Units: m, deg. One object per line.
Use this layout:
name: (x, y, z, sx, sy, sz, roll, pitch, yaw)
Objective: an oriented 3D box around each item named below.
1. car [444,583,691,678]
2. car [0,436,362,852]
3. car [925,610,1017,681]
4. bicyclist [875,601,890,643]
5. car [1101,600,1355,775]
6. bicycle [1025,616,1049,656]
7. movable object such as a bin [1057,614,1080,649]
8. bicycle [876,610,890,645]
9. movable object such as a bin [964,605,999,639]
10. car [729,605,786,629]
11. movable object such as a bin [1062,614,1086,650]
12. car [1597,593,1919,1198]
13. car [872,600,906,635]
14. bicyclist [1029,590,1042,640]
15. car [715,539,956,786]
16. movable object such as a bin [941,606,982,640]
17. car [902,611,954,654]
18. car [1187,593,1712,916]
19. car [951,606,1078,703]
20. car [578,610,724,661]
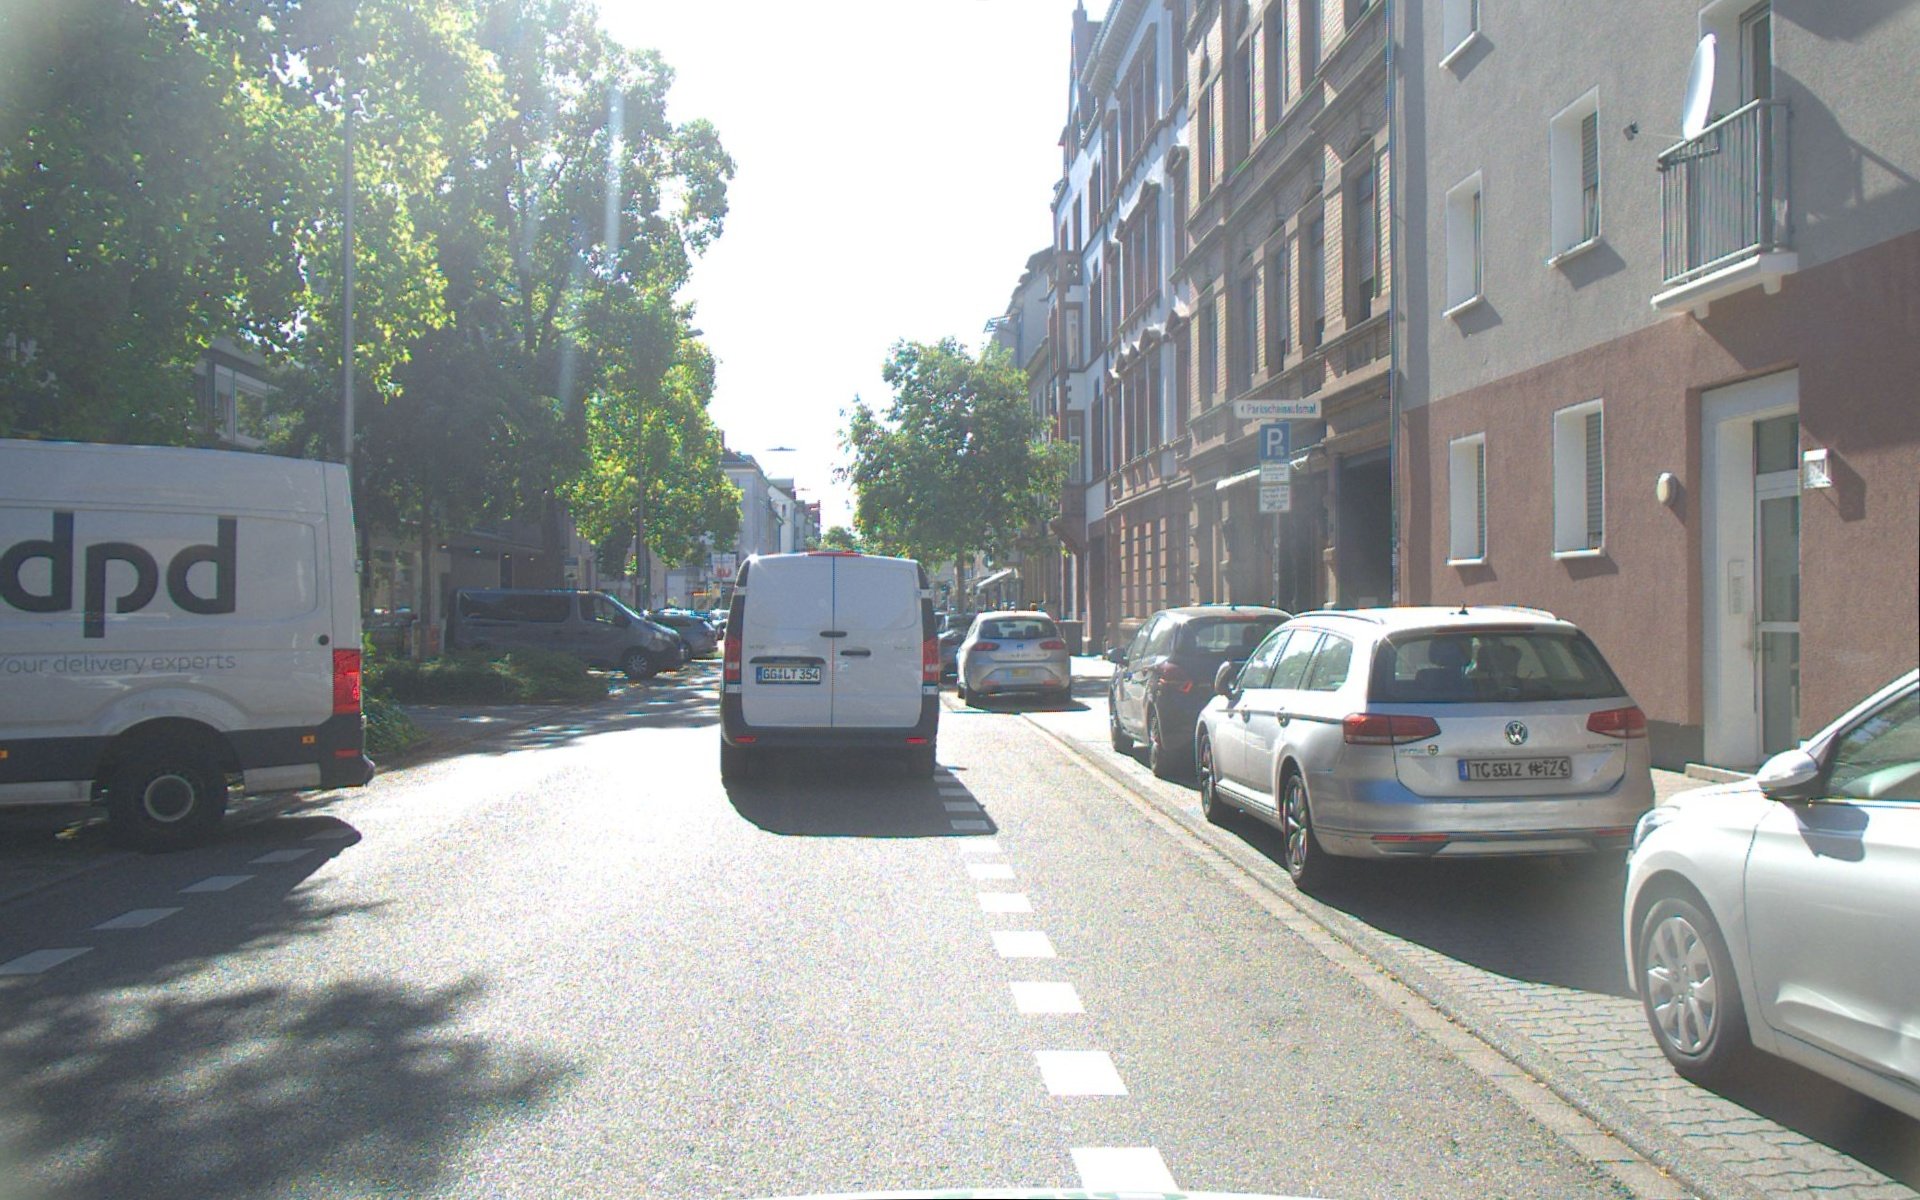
car: (-8.903, 0.697, 37.881, 5.188, 2.009, 2.014, 1, -1, -4)
car: (-7.283, 0.273, 10.309, 6.508, 2.517, 1.981, 0, 0, -29)
car: (0.182, 0.960, 36.749, 1.704, 1.477, 4.303, 0, 0, -4)
bicyclist: (-2.868, 0.813, 61.212, 0.431, 1.534, 0.496, -3, 0, -5)
car: (2.479, 0.767, 16.163, 1.675, 1.506, 3.707, 0, 0, -4)
bicycle: (2.332, 1.093, 50.317, 0.525, 1.168, 2.123, -5, -1, 0)
movable object such as a bin: (3.406, 0.987, 51.985, 0.625, 1.087, 0.631, 0, -1, -4)
bicycle: (-2.854, 1.012, 61.229, 0.465, 1.296, 1.217, -1, 0, -4)
movable object such as a bin: (0.899, 0.915, 68.709, 1.020, 1.371, 1.105, -1, 0, 35)
car: (-14.072, 1.173, 115.020, 3.911, 1.669, 1.997, 0, 0, -7)
movable object such as a bin: (3.501, 0.977, 50.834, 0.625, 1.087, 0.639, 0, -1, -4)
car: (3.276, 0.732, 4.052, 1.697, 1.512, 3.791, -2, 0, -5)
car: (-4.035, 0.965, 93.658, 1.780, 1.955, 4.639, 0, 0, -5)
bicyclist: (2.292, 0.456, 50.316, 0.353, 1.503, 0.530, 1, -1, 1)
car: (-1.337, 0.509, 15.606, 1.885, 1.947, 4.878, 1, 0, -9)
movable object such as a bin: (0.066, 0.931, 67.703, 1.090, 1.371, 1.263, -1, 0, 44)
car: (-1.175, 1.147, 59.639, 1.604, 1.501, 3.576, -1, 0, -5)
car: (2.639, 0.742, 10.108, 1.749, 1.485, 4.515, -1, 0, -1)
car: (0.835, 0.852, 27.500, 1.704, 1.477, 3.996, 0, 0, -4)
car: (-9.656, 1.100, 51.931, 4.218, 1.486, 1.762, 1, -1, -2)
